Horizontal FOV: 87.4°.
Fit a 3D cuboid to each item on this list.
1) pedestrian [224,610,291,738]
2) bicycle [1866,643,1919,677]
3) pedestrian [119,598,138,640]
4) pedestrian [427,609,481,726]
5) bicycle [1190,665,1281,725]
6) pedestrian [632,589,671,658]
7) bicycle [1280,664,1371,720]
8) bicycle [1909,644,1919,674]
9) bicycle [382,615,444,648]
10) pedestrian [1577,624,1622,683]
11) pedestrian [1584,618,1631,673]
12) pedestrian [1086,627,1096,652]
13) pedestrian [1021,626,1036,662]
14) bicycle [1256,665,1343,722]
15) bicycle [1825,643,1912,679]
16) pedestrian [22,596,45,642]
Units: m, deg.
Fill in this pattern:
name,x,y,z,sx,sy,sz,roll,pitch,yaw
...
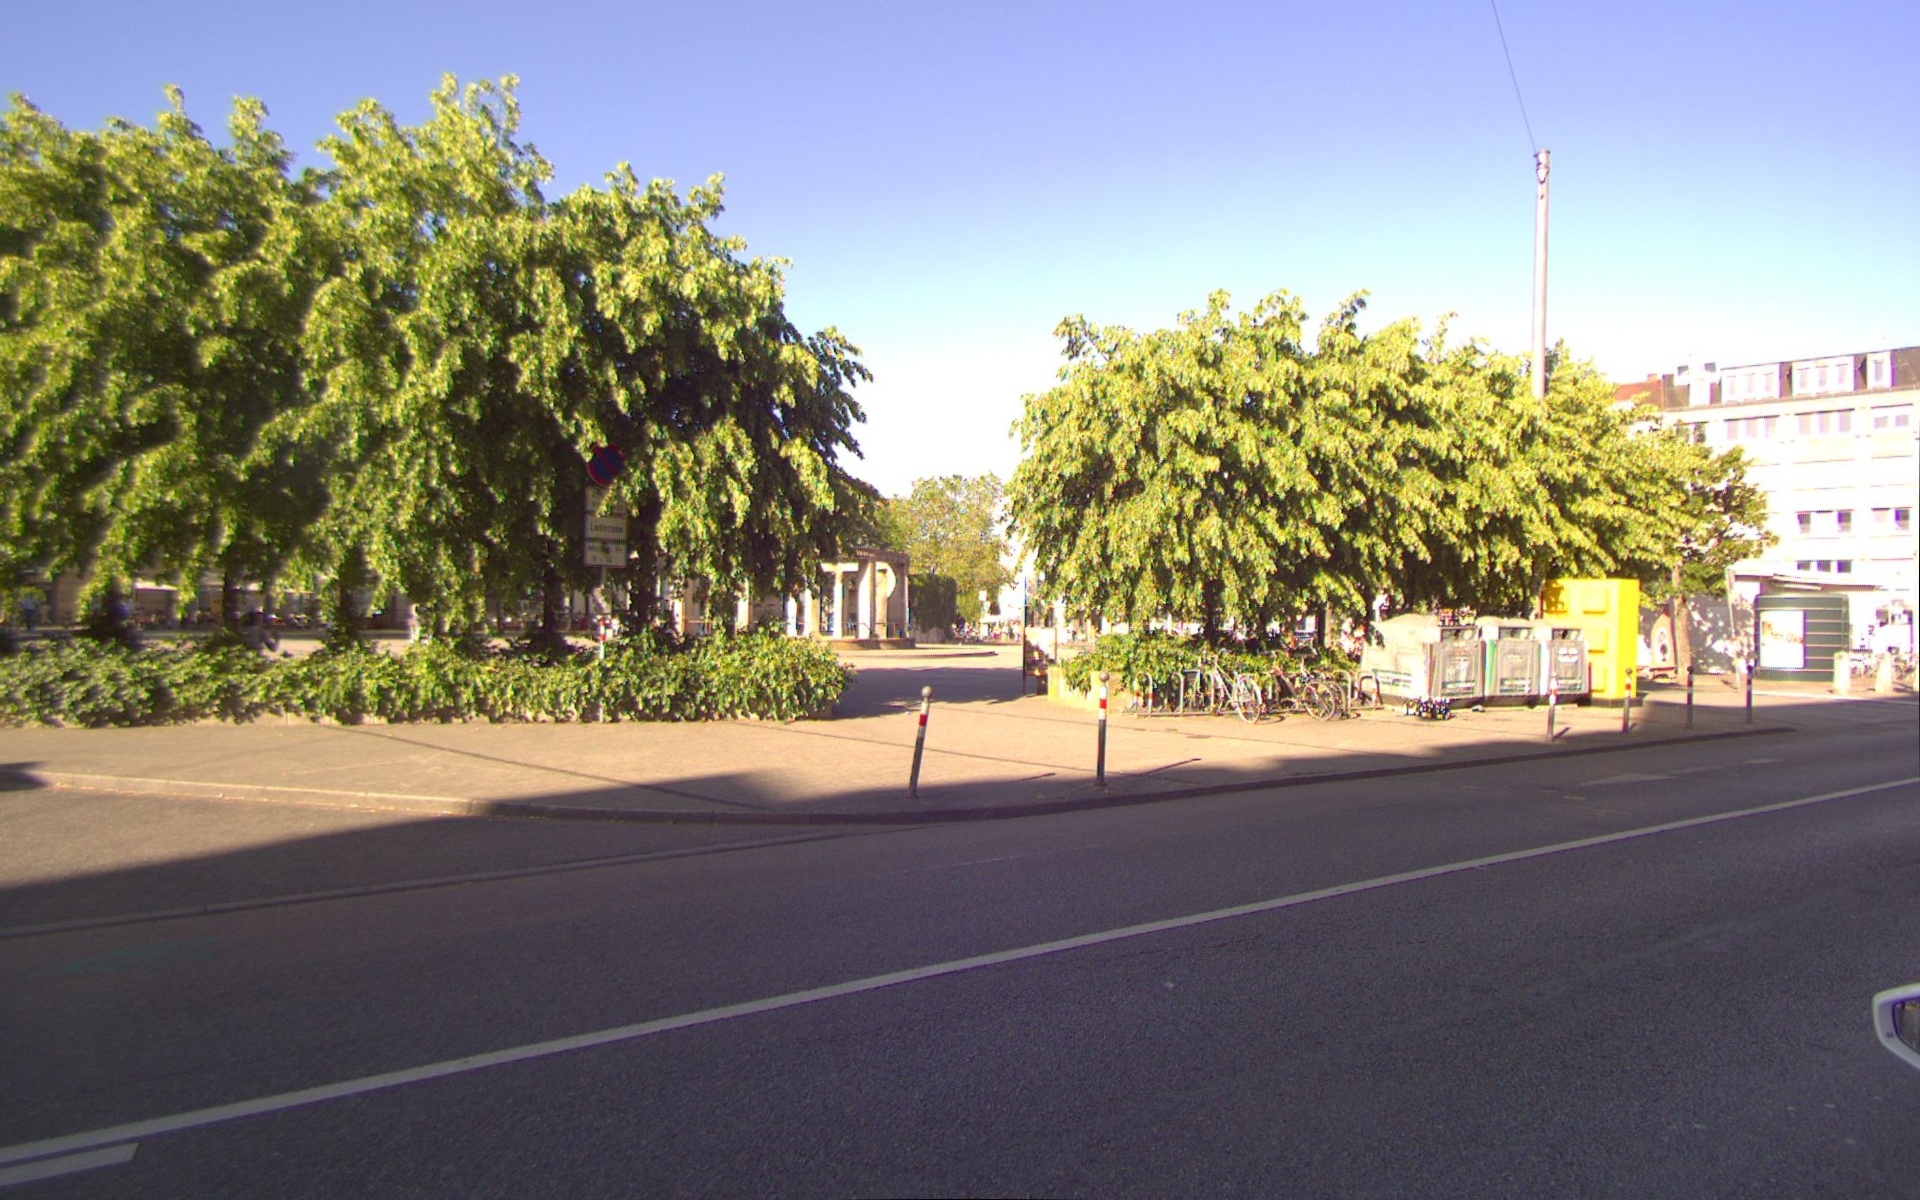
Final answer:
name,x,y,z,sx,sy,sz,roll,pitch,yaw
pedestrian,-10.706,1.108,15.320,0.722,1.881,0.578,2,0,-28
bicycle,33.163,2.107,35.127,0.796,1.119,2.073,1,-1,-30
pedestrian,-37.186,0.849,44.917,0.597,1.816,0.575,2,0,-44
pedestrian,-8.442,1.107,16.762,0.574,1.881,0.598,1,0,41
bicycle,4.233,1.447,15.523,0.467,0.779,1.653,2,0,-20
pedestrian,-8.216,0.620,26.752,0.918,1.775,0.728,1,0,-15
bicycle,5.956,1.480,16.417,0.468,0.779,1.468,2,0,-27
bicycle,37.126,2.240,37.706,0.796,1.119,2.073,1,-1,-30
bicycle,-18.156,1.045,33.338,2.018,1.030,0.504,1,0,16
pedestrian,19.465,1.629,30.595,0.734,1.748,0.898,1,0,-26
pedestrian,19.953,1.395,30.968,0.727,1.658,0.983,1,0,-26
pedestrian,9.680,2.900,74.256,0.591,1.816,0.581,1,0,-12
pedestrian,4.016,2.566,58.761,0.670,2.040,0.579,2,0,-23
bicycle,5.444,1.482,16.177,0.435,0.779,1.469,2,0,-25
bicycle,30.857,2.060,34.153,0.796,1.119,2.073,1,-1,-30
pedestrian,-37.310,0.759,40.445,0.597,1.816,0.576,2,0,-40
